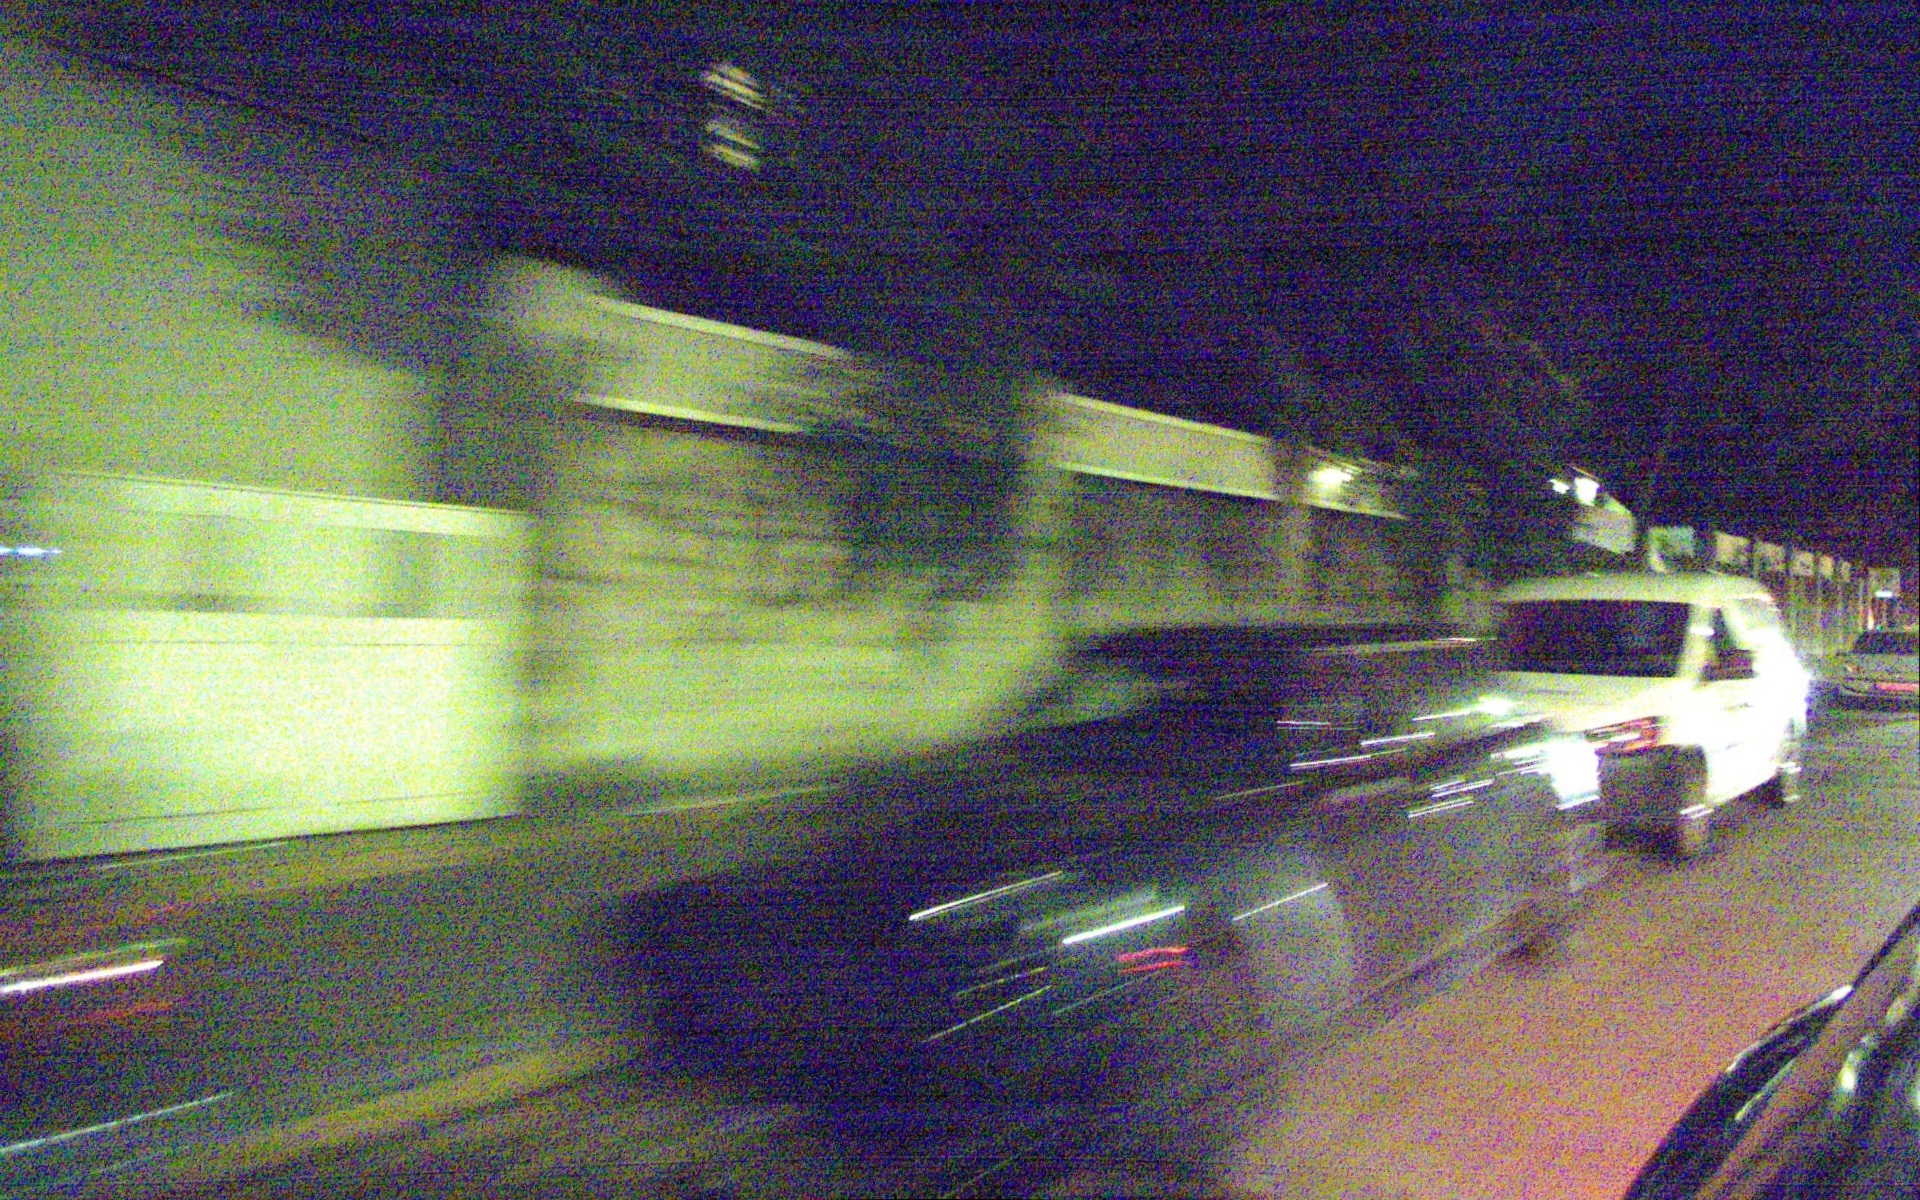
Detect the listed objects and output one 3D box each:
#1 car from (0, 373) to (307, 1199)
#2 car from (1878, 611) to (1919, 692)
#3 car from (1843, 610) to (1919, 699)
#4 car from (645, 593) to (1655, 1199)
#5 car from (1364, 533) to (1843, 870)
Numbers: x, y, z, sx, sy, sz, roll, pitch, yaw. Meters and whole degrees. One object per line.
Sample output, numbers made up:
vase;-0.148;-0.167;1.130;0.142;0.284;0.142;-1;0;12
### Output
car;-2.976;0.648;0.293;4.535;1.685;1.836;0;1;-39
car;21.263;1.095;21.676;4.643;1.614;1.758;2;-1;-40
car;17.862;1.045;18.839;3.651;1.479;1.612;3;1;-41
car;1.110;0.760;4.018;4.182;1.489;1.746;1;-1;-41
car;5.003;0.570;7.551;4.673;1.784;1.722;1;-1;-40
